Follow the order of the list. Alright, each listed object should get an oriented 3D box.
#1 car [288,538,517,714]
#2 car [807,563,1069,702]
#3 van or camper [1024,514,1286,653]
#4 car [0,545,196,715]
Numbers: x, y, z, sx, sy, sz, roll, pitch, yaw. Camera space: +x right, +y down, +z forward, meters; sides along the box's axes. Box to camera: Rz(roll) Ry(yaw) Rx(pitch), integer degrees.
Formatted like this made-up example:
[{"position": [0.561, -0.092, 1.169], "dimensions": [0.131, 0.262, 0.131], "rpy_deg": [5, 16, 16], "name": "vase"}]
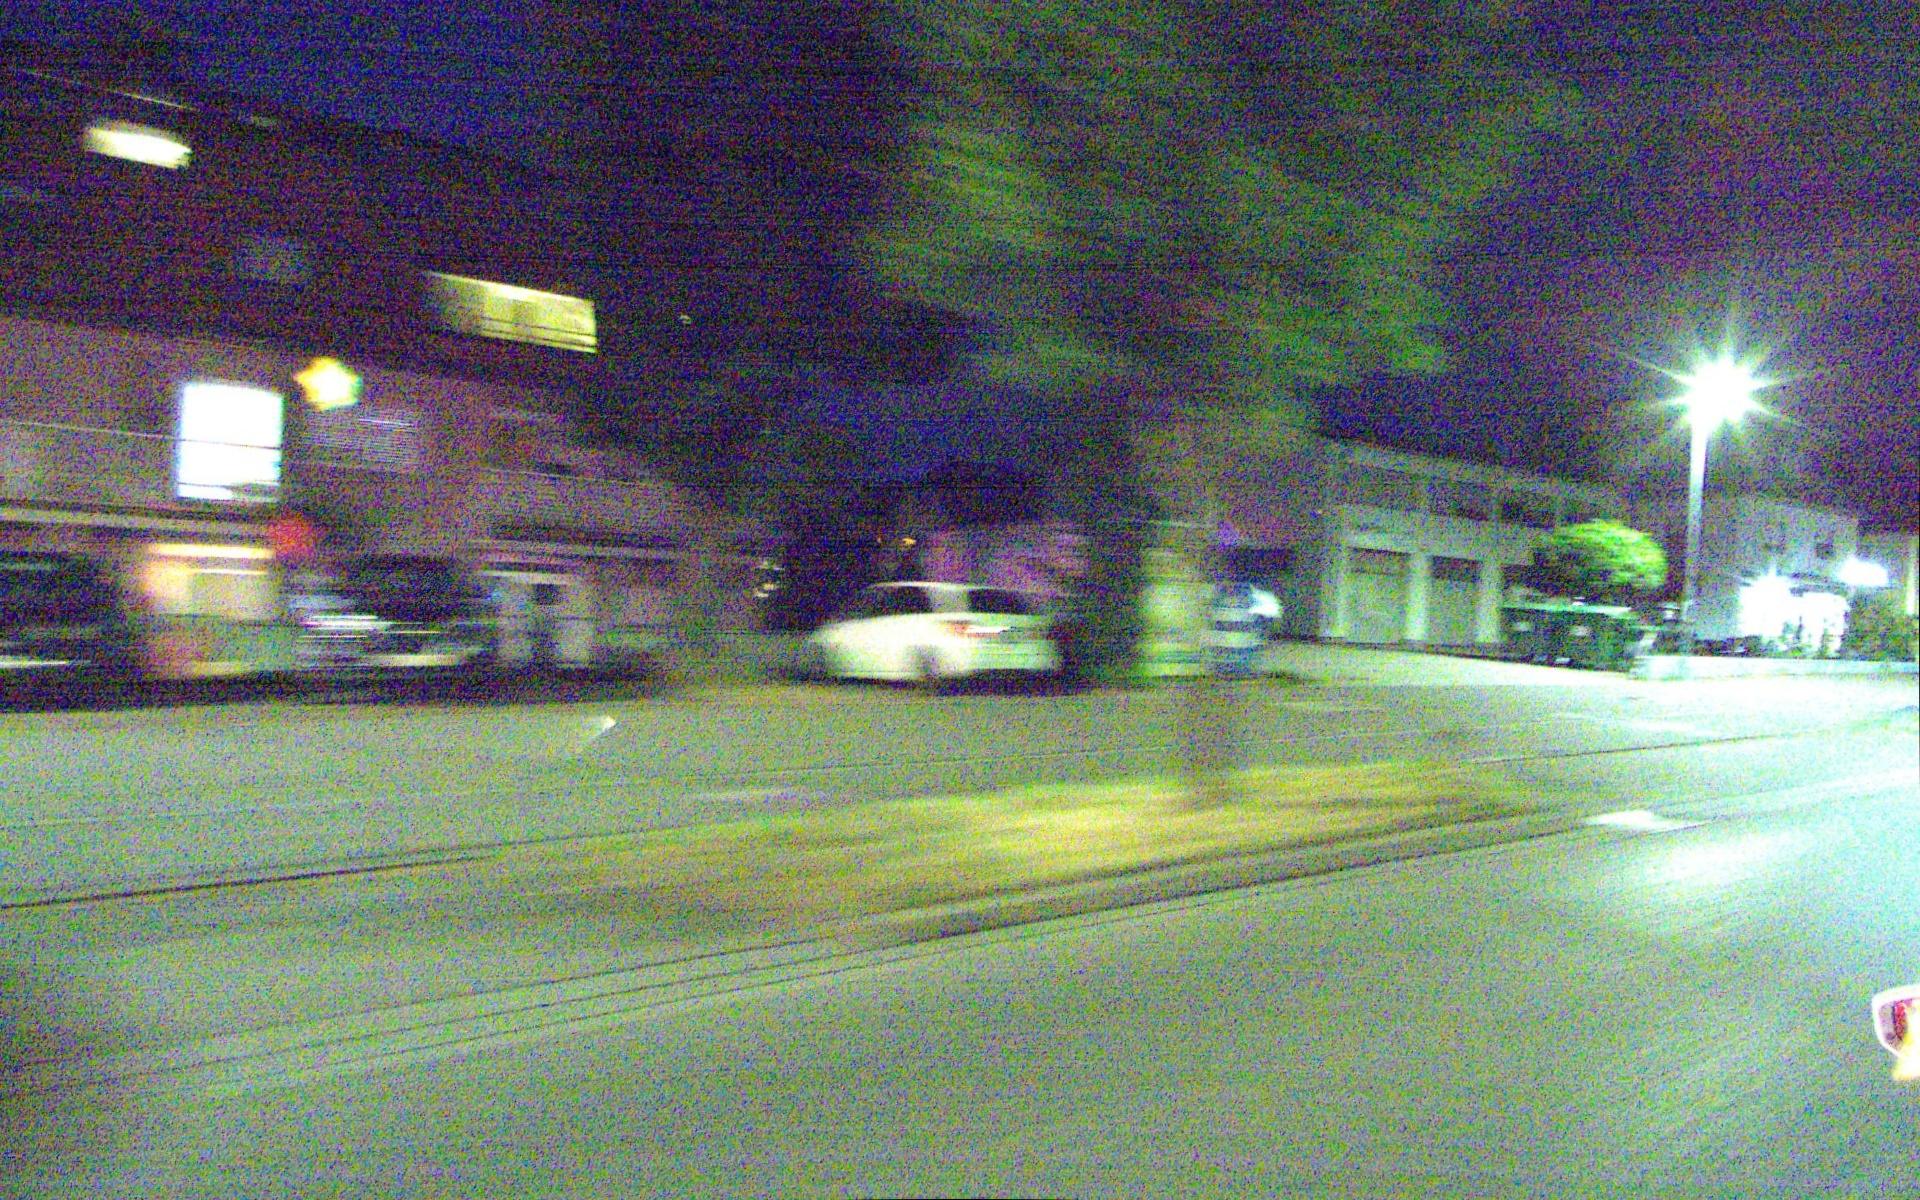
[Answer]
[{"position": [-6.512, 0.300, 11.911], "dimensions": [1.975, 1.684, 4.099], "rpy_deg": [1, -1, -28], "name": "car"}, {"position": [-0.454, 0.467, 14.711], "dimensions": [1.930, 1.725, 3.959], "rpy_deg": [1, -2, -36], "name": "car"}, {"position": [4.459, -0.293, 22.587], "dimensions": [5.862, 2.784, 2.063], "rpy_deg": [2, 1, -31], "name": "van or camper"}, {"position": [-9.543, 0.274, 10.380], "dimensions": [1.975, 1.483, 3.971], "rpy_deg": [1, -1, -28], "name": "car"}]
